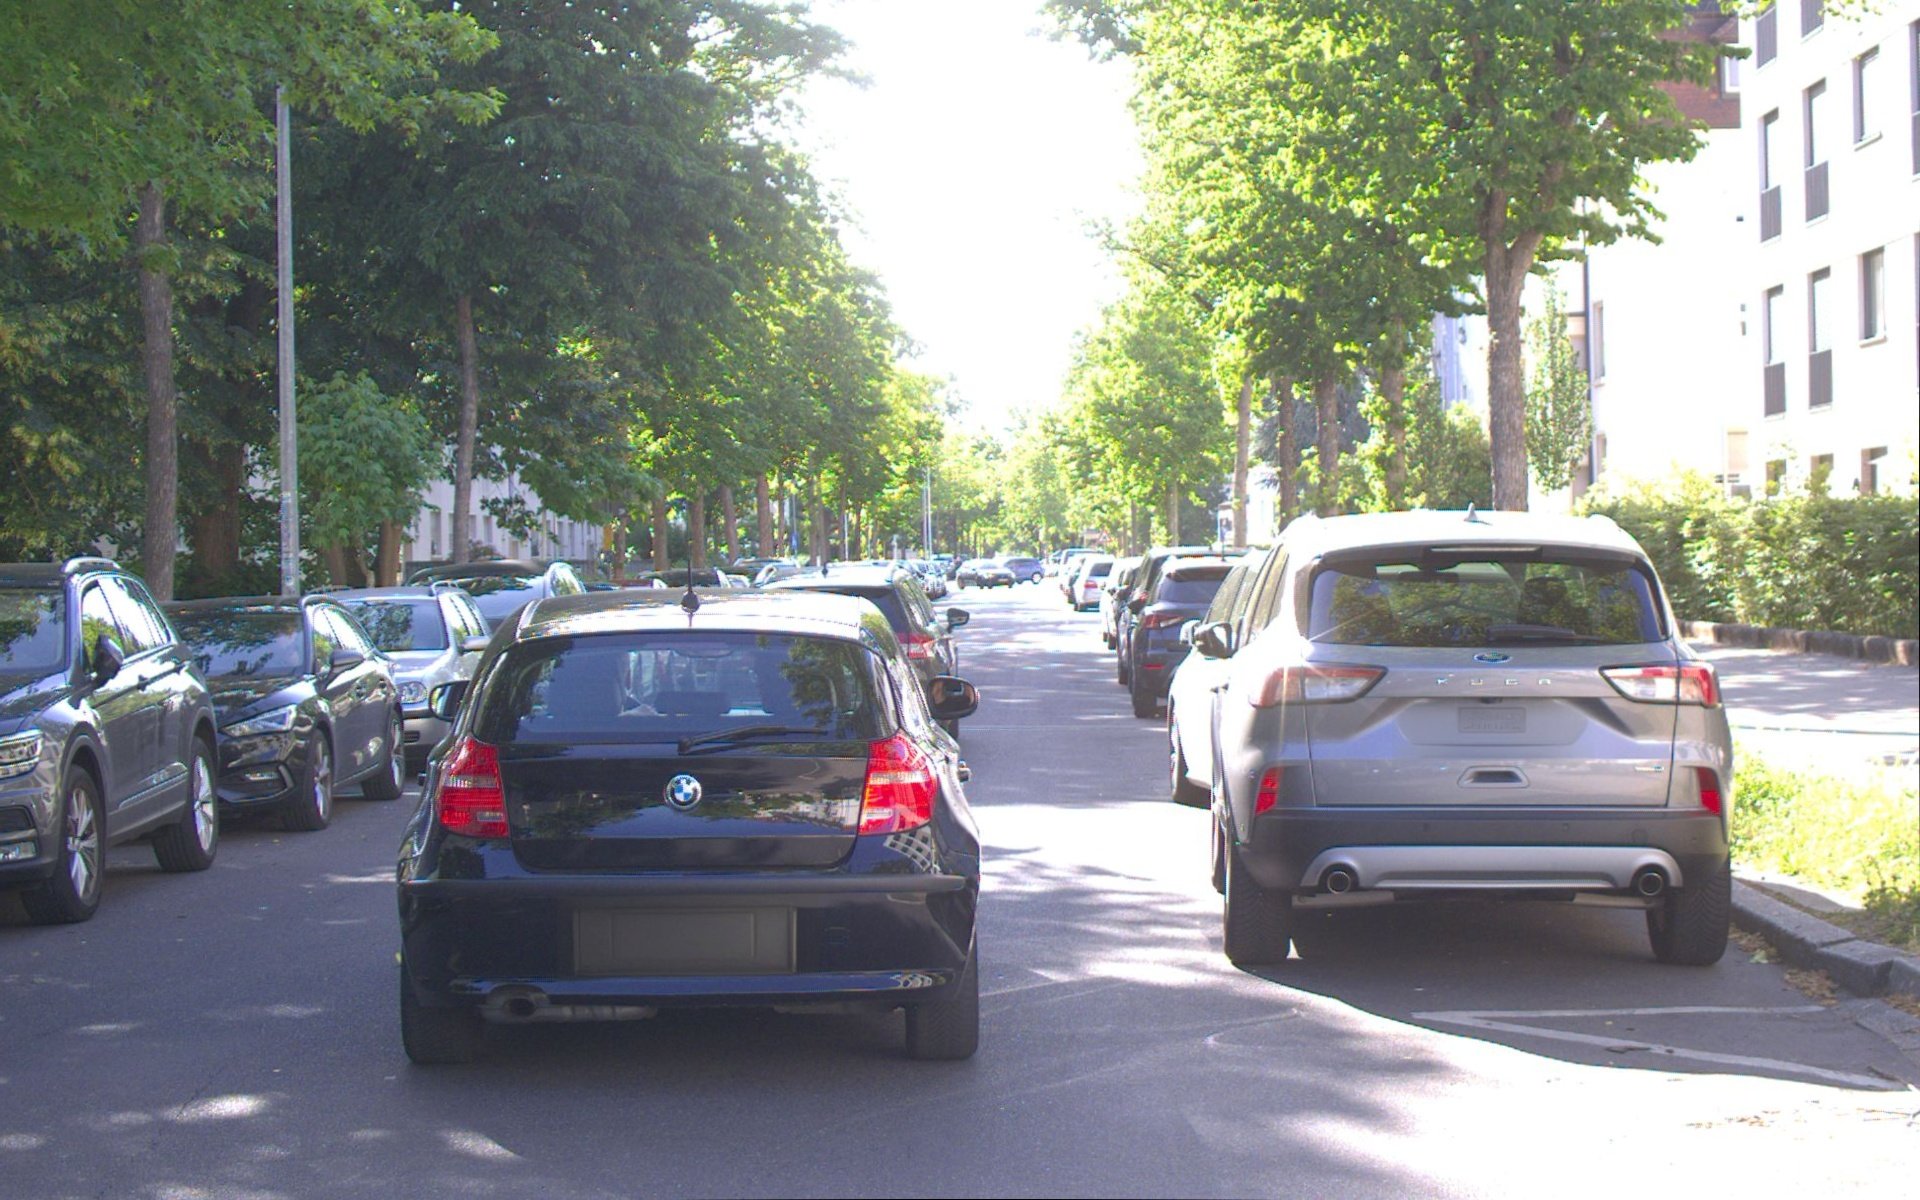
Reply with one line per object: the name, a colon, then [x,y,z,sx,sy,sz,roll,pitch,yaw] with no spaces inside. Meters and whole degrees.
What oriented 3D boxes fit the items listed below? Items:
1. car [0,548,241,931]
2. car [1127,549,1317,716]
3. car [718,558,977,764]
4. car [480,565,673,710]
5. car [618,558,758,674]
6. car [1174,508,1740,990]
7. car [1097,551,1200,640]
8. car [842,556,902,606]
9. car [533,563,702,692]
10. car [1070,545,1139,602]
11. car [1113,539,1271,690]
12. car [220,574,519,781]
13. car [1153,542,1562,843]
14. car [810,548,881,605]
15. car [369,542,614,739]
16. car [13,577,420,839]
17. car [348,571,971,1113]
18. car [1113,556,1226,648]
car: [-4.719,0.591,16.587,1.612,1.606,4.230,-2,1,-1]
car: [2.532,0.274,33.949,1.721,1.523,4.000,1,1,2]
car: [-0.802,0.417,26.846,1.649,1.421,4.001,-2,1,3]
car: [-4.197,0.376,38.127,1.612,1.447,3.866,-2,1,1]
car: [-3.888,0.196,49.645,1.612,1.538,3.866,-2,1,1]
car: [1.815,0.494,13.833,1.848,1.625,4.410,0,0,3]
car: [3.257,-0.109,59.850,1.721,1.475,3.851,1,1,2]
car: [-2.618,-0.583,102.971,1.612,1.387,3.866,-2,1,1]
car: [-4.205,0.306,42.740,1.612,1.447,3.866,-2,1,1]
car: [4.027,-0.758,95.134,1.721,1.475,3.850,-2,1,4]
car: [2.649,0.131,39.955,1.721,1.635,3.851,1,1,2]
car: [-4.554,0.557,26.990,1.612,1.422,3.726,-2,1,1]
car: [2.141,0.445,19.519,1.693,1.518,4.000,-1,1,-2]
car: [-2.929,-0.626,88.718,1.612,1.387,3.866,-2,1,1]
car: [-4.346,0.330,32.424,1.612,1.673,4.234,-2,1,1]
car: [-4.618,0.610,21.896,1.612,1.422,4.058,-2,1,1]
car: [-0.876,0.643,11.069,1.649,1.392,3.412,-2,1,-2]
car: [3.320,0.005,55.059,1.721,1.375,3.851,1,1,2]
